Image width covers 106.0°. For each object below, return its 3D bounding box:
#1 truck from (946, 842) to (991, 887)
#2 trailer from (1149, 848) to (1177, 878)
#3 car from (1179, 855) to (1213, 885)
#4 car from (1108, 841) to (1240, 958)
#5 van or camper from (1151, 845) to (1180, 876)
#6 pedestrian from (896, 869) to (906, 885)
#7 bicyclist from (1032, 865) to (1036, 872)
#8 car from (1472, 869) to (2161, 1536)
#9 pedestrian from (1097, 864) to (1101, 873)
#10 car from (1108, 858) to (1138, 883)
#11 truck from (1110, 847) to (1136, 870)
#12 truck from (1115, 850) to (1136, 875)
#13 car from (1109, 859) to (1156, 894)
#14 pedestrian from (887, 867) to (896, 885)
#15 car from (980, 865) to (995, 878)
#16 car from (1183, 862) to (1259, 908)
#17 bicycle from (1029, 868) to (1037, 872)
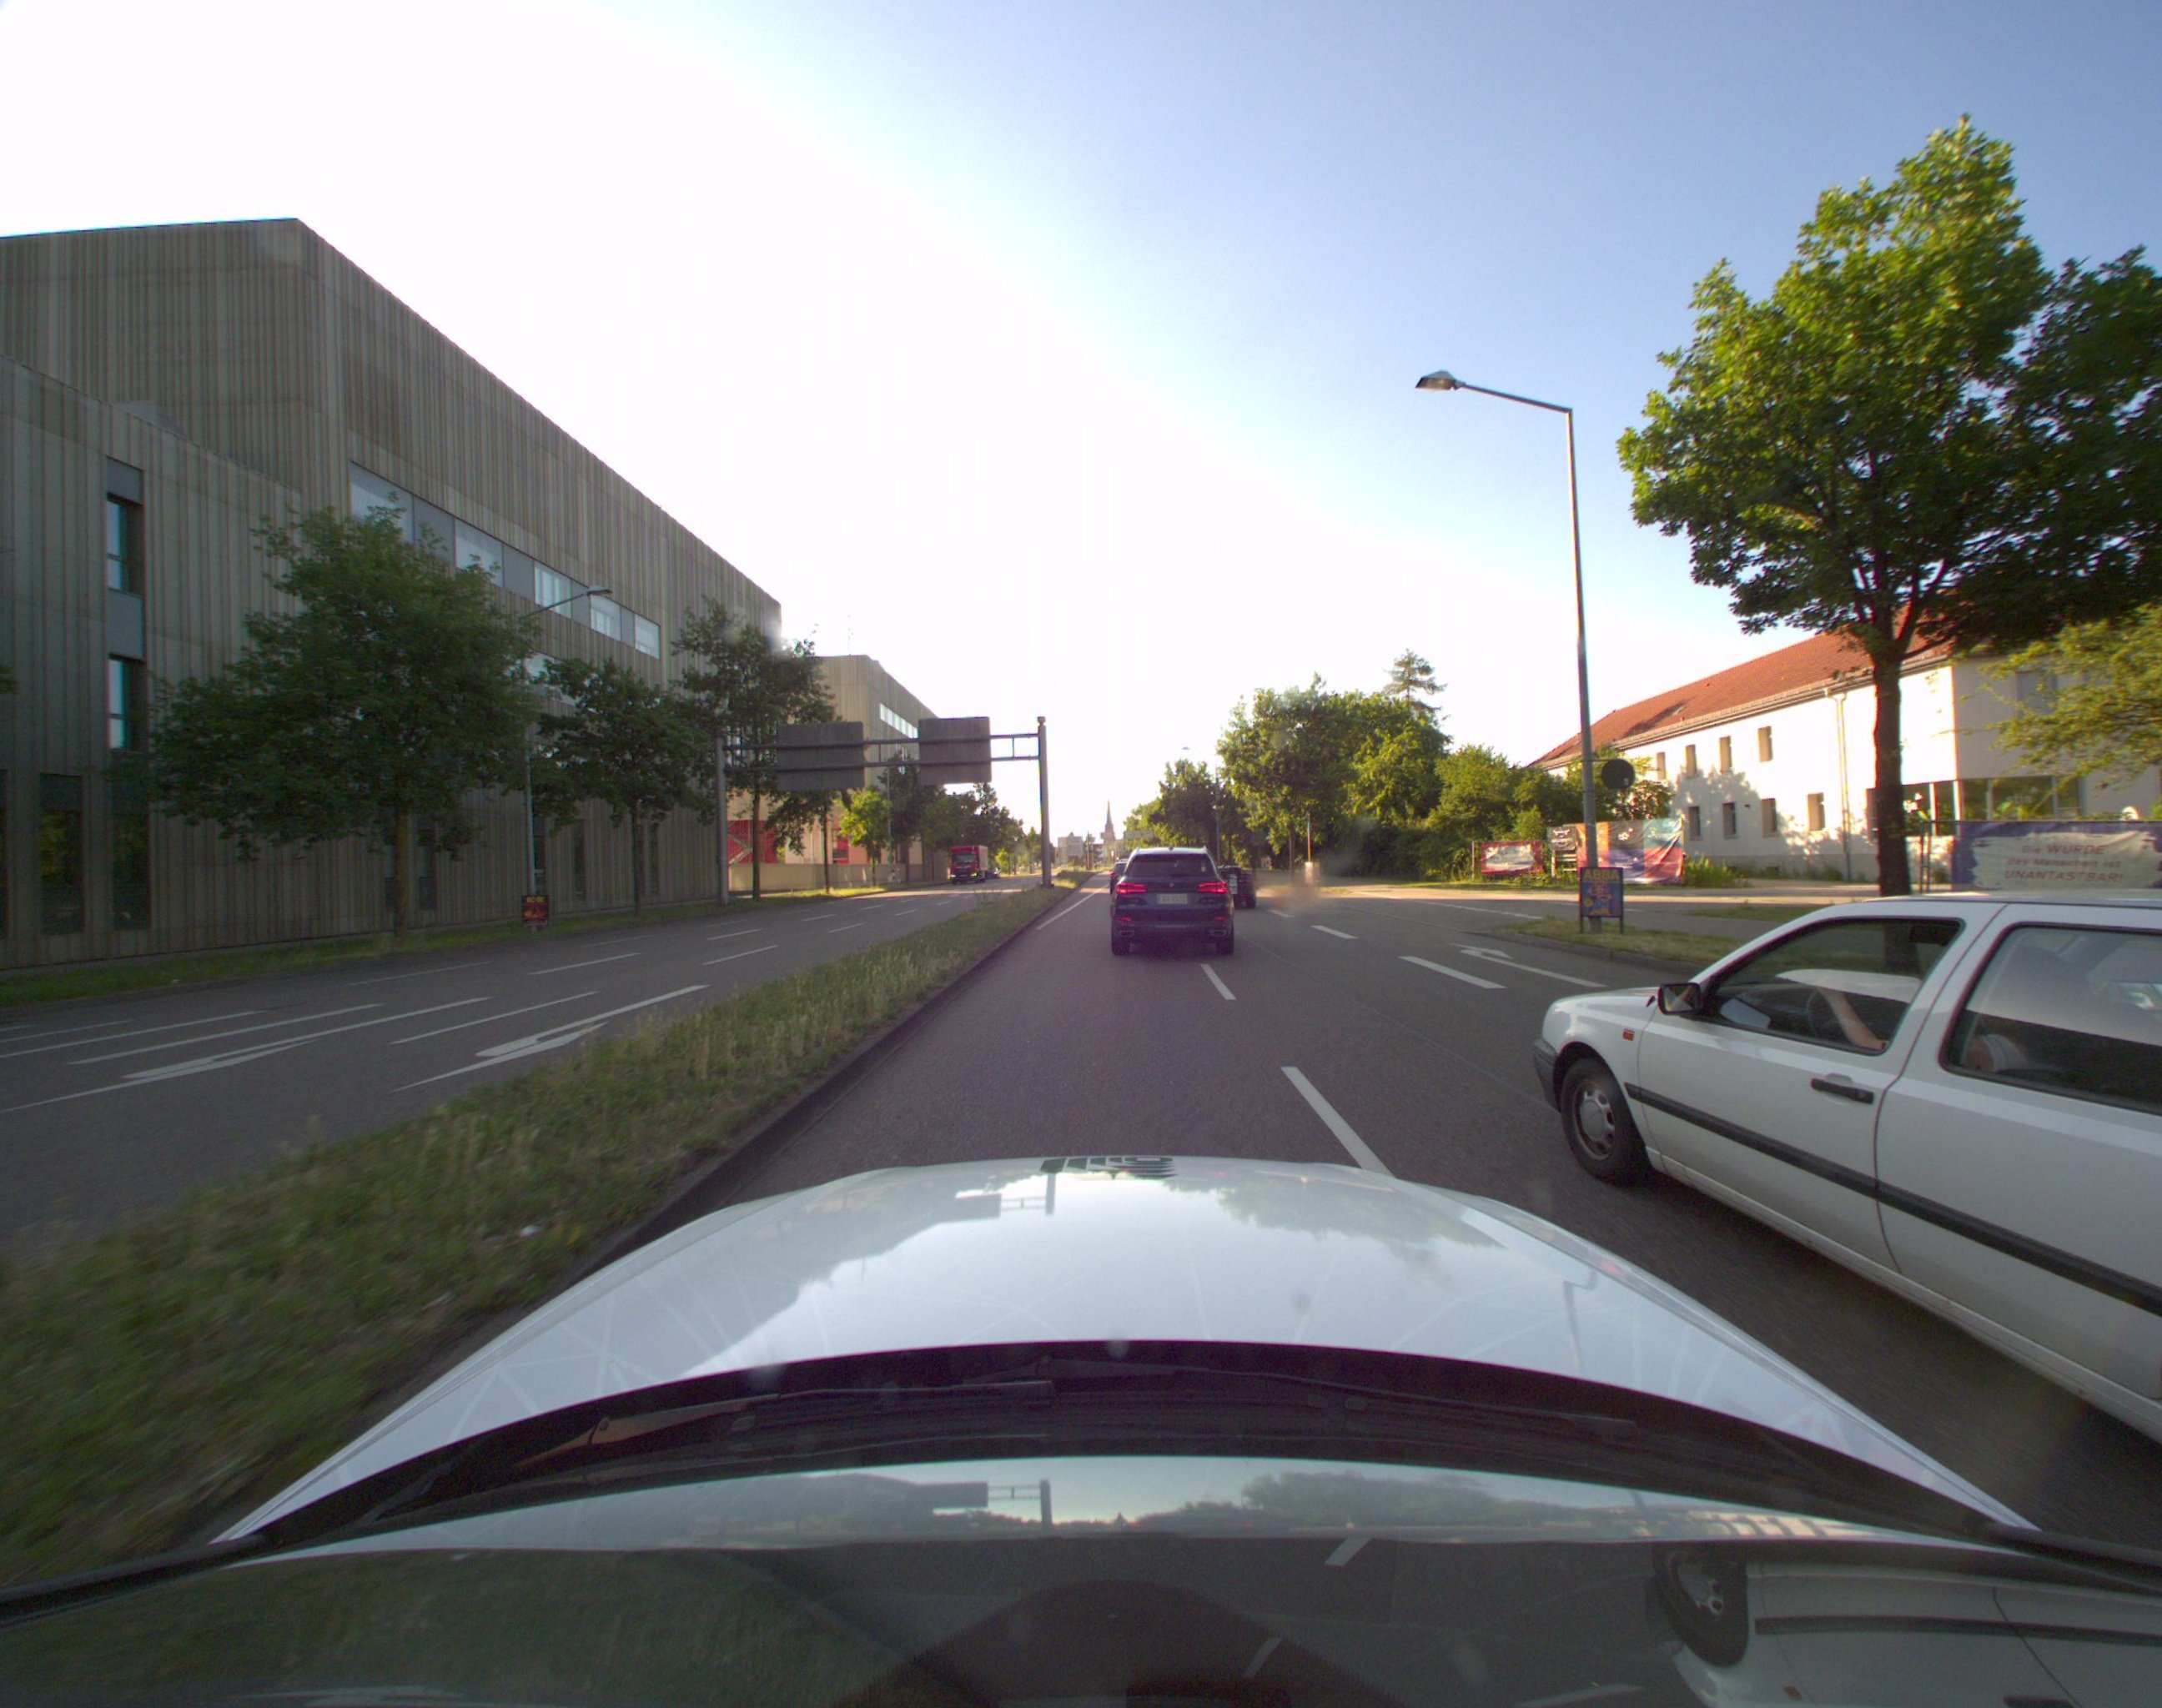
[{"bbox_3d":[-10.457,0.981,76.706,2.990,3.811,10.081,-2,-1,-2],"label":"truck"},{"bbox_3d":[6.822,0.761,67.835,2.082,2.401,3.502,-1,-1,2],"label":"trailer"},{"bbox_3d":[6.647,0.897,47.404,1.739,1.621,3.825,-2,0,5],"label":"car"},{"bbox_3d":[1.517,0.730,14.567,1.947,1.727,4.702,-1,-1,3],"label":"car"},{"bbox_3d":[7.646,0.571,73.986,2.275,2.629,6.589,-1,-1,3],"label":"van or camper"},{"bbox_3d":[-18.427,2.303,83.414,0.773,1.601,0.910,-2,-1,3],"label":"pedestrian"},{"bbox_3d":[-11.874,3.736,204.384,0.806,1.771,0.498,-1,-1,17],"label":"bicyclist"},{"bbox_3d":[3.089,0.756,2.801,1.605,1.398,4.038,0,-1,1],"label":"car"},{"bbox_3d":[4.456,3.574,201.724,0.787,2.014,0.700,-2,-1,-4],"label":"pedestrian"},{"bbox_3d":[3.051,1.173,58.058,1.896,1.660,4.006,-2,-1,5],"label":"car"},{"bbox_3d":[4.843,0.542,94.668,2.573,2.558,6.249,-2,-1,-1],"label":"truck"},{"bbox_3d":[5.203,0.972,93.818,2.209,2.651,4.779,-2,-1,5],"label":"truck"},{"bbox_3d":[2.418,0.982,37.200,1.737,1.473,3.829,-2,-1,9],"label":"car"},{"bbox_3d":[-19.566,2.245,83.997,0.630,1.841,0.717,-2,-1,3],"label":"pedestrian"},{"bbox_3d":[-11.395,2.115,99.472,1.592,1.512,3.863,-2,-1,-3],"label":"car"},{"bbox_3d":[4.470,0.952,26.663,1.847,1.338,4.627,-1,-1,2],"label":"car"},{"bbox_3d":[-12.043,4.020,204.424,1.893,1.020,0.506,-1,-1,17],"label":"bicycle"}]
